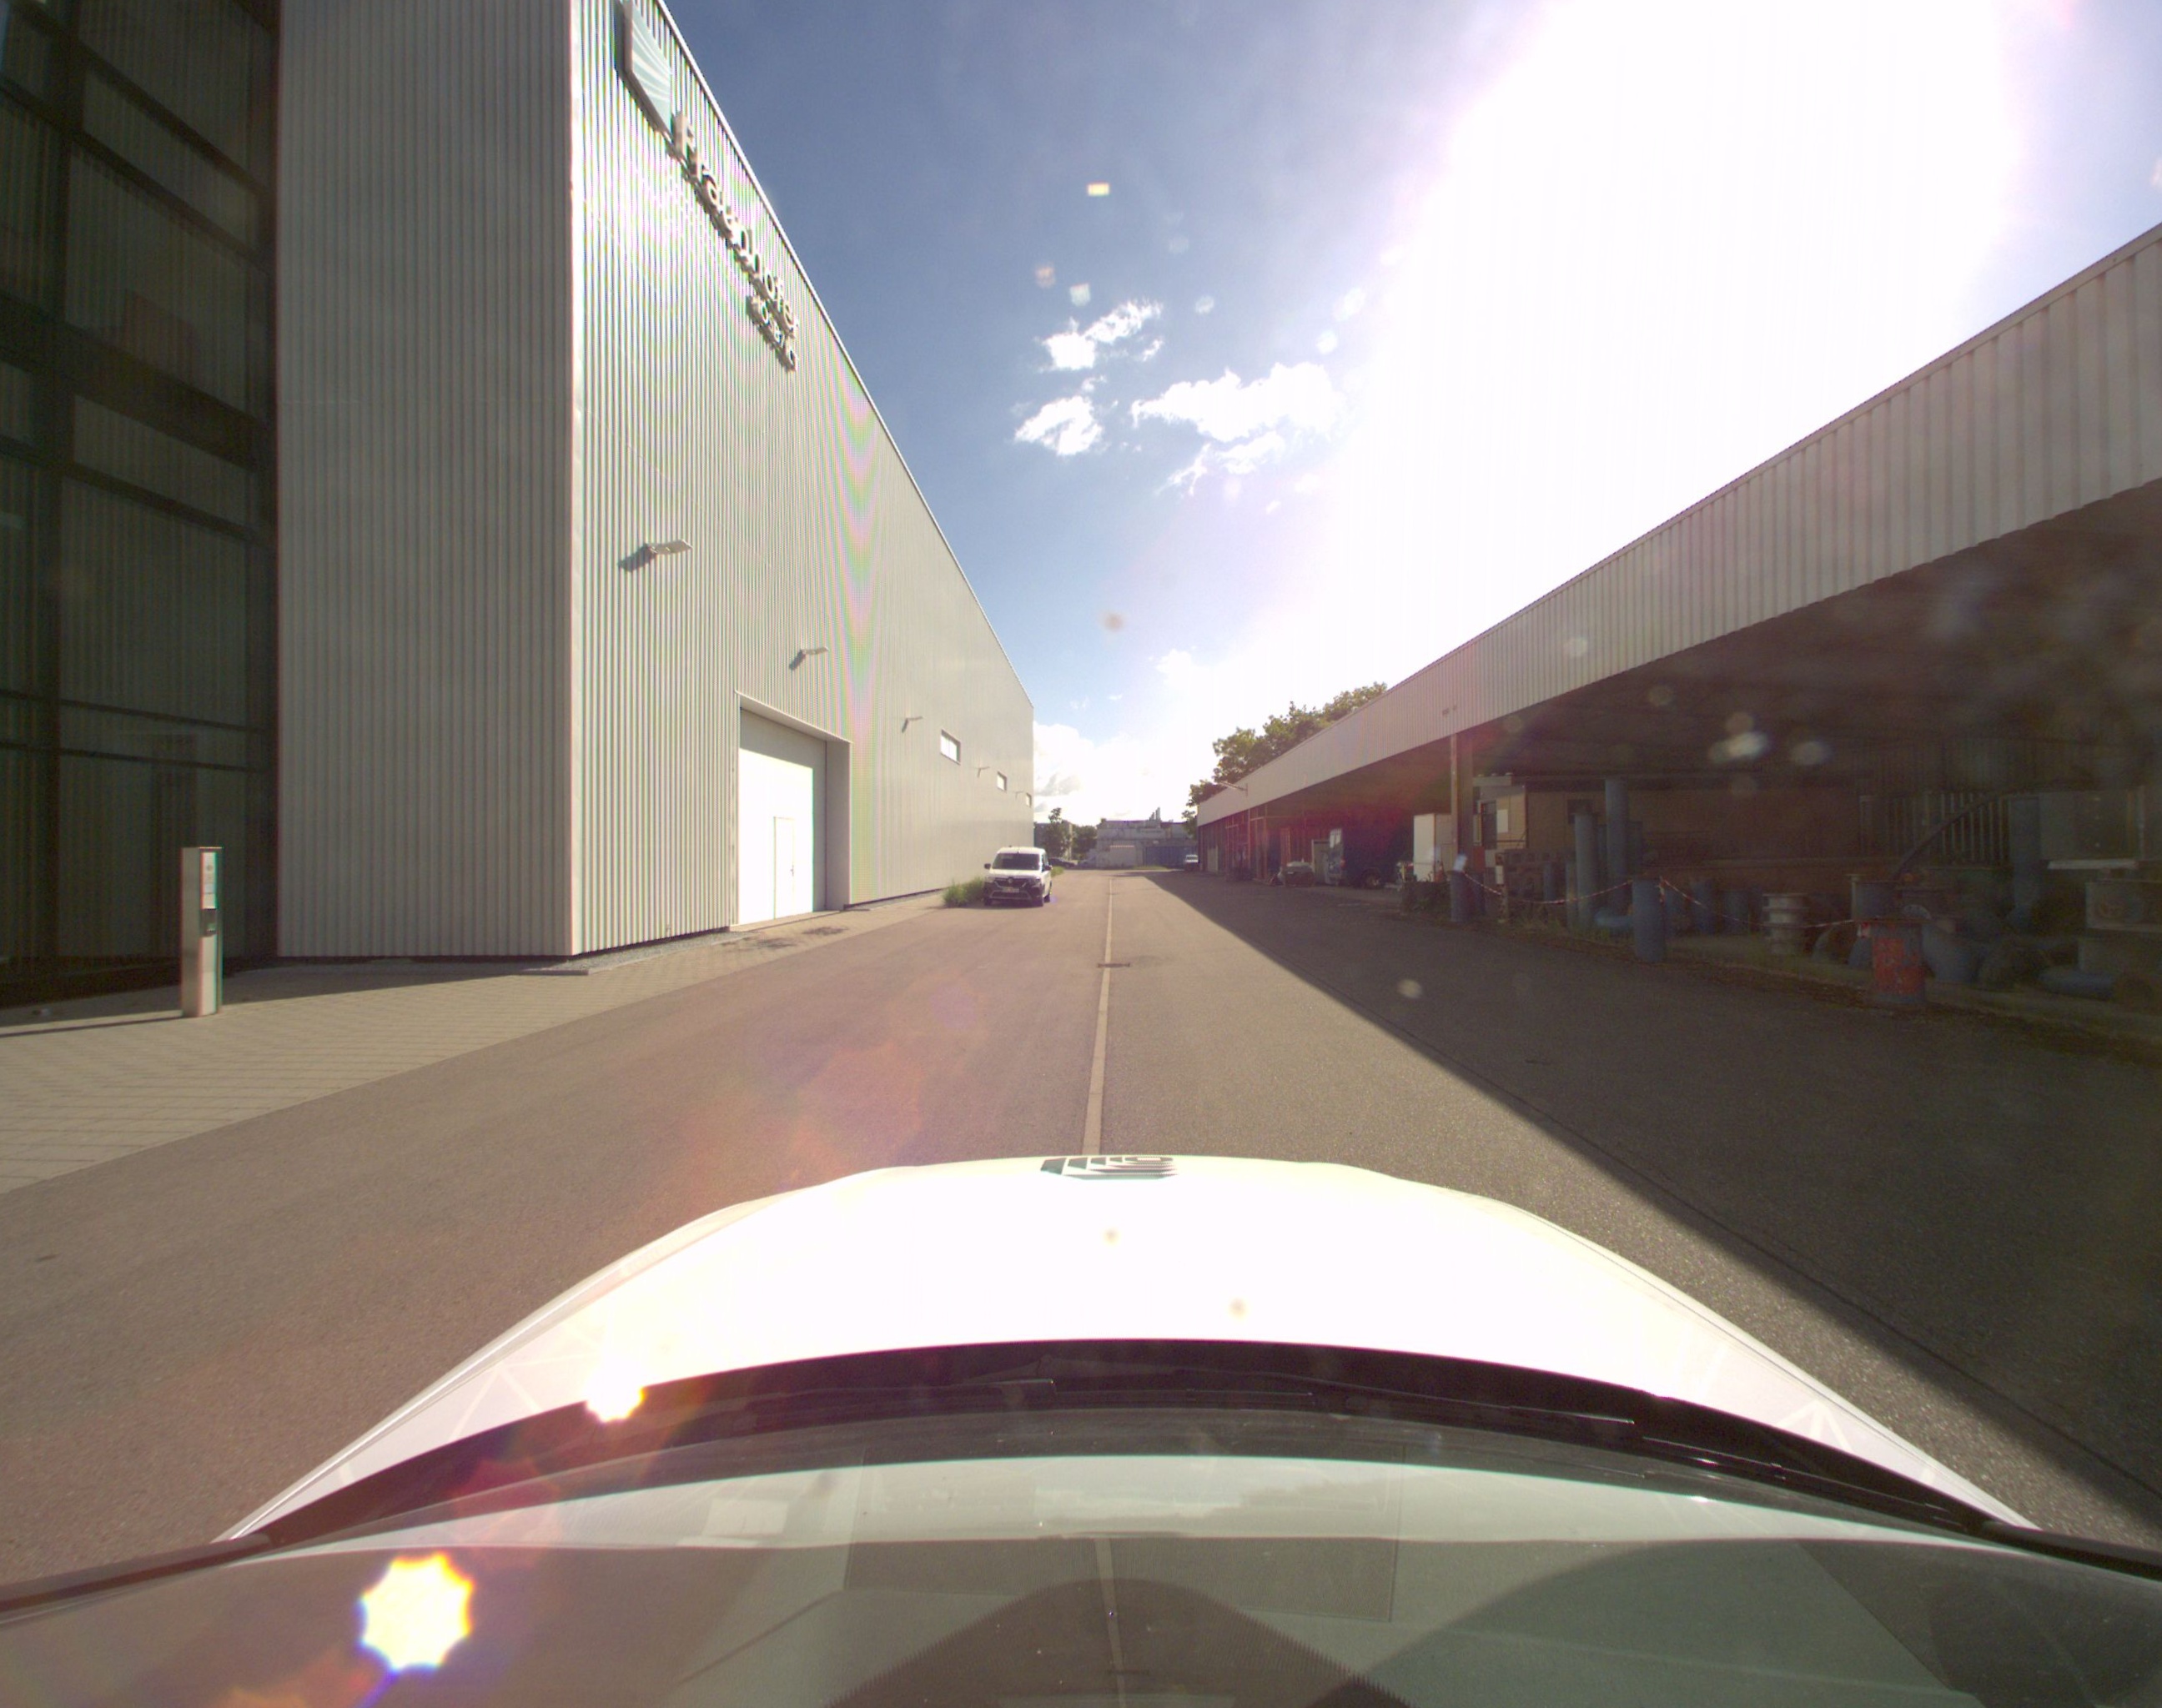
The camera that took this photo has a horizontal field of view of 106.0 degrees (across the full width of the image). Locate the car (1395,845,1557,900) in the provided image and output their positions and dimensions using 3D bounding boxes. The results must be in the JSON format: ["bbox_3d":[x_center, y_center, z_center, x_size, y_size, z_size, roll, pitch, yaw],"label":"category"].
[{"bbox_3d":[11.629,0.551,24.187,4.021,1.525,1.685,1,-2,3],"label":"car"}]

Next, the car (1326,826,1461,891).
[{"bbox_3d":[11.700,0.191,30.715,4.414,2.310,1.916,1,-2,3],"label":"car"}]

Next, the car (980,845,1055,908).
[{"bbox_3d":[-1.907,0.650,25.763,1.811,1.787,4.408,1,0,3],"label":"car"}]

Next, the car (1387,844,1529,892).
[{"bbox_3d":[12.685,0.500,27.585,4.021,1.525,1.685,1,-2,3],"label":"car"}]

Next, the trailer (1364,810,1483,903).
[{"bbox_3d":[9.184,0.080,21.993,2.513,2.399,1.728,-1,-1,3],"label":"trailer"}]

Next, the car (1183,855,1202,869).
[{"bbox_3d":[12.995,0.906,95.204,1.953,1.564,4.063,1,0,4],"label":"car"}]

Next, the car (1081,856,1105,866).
[{"bbox_3d":[1.966,1.190,135.847,3.973,1.598,1.848,1,-2,1],"label":"car"}]

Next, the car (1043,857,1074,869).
[{"bbox_3d":[-2.946,1.202,108.080,3.973,1.598,1.741,1,-2,1],"label":"car"}]
